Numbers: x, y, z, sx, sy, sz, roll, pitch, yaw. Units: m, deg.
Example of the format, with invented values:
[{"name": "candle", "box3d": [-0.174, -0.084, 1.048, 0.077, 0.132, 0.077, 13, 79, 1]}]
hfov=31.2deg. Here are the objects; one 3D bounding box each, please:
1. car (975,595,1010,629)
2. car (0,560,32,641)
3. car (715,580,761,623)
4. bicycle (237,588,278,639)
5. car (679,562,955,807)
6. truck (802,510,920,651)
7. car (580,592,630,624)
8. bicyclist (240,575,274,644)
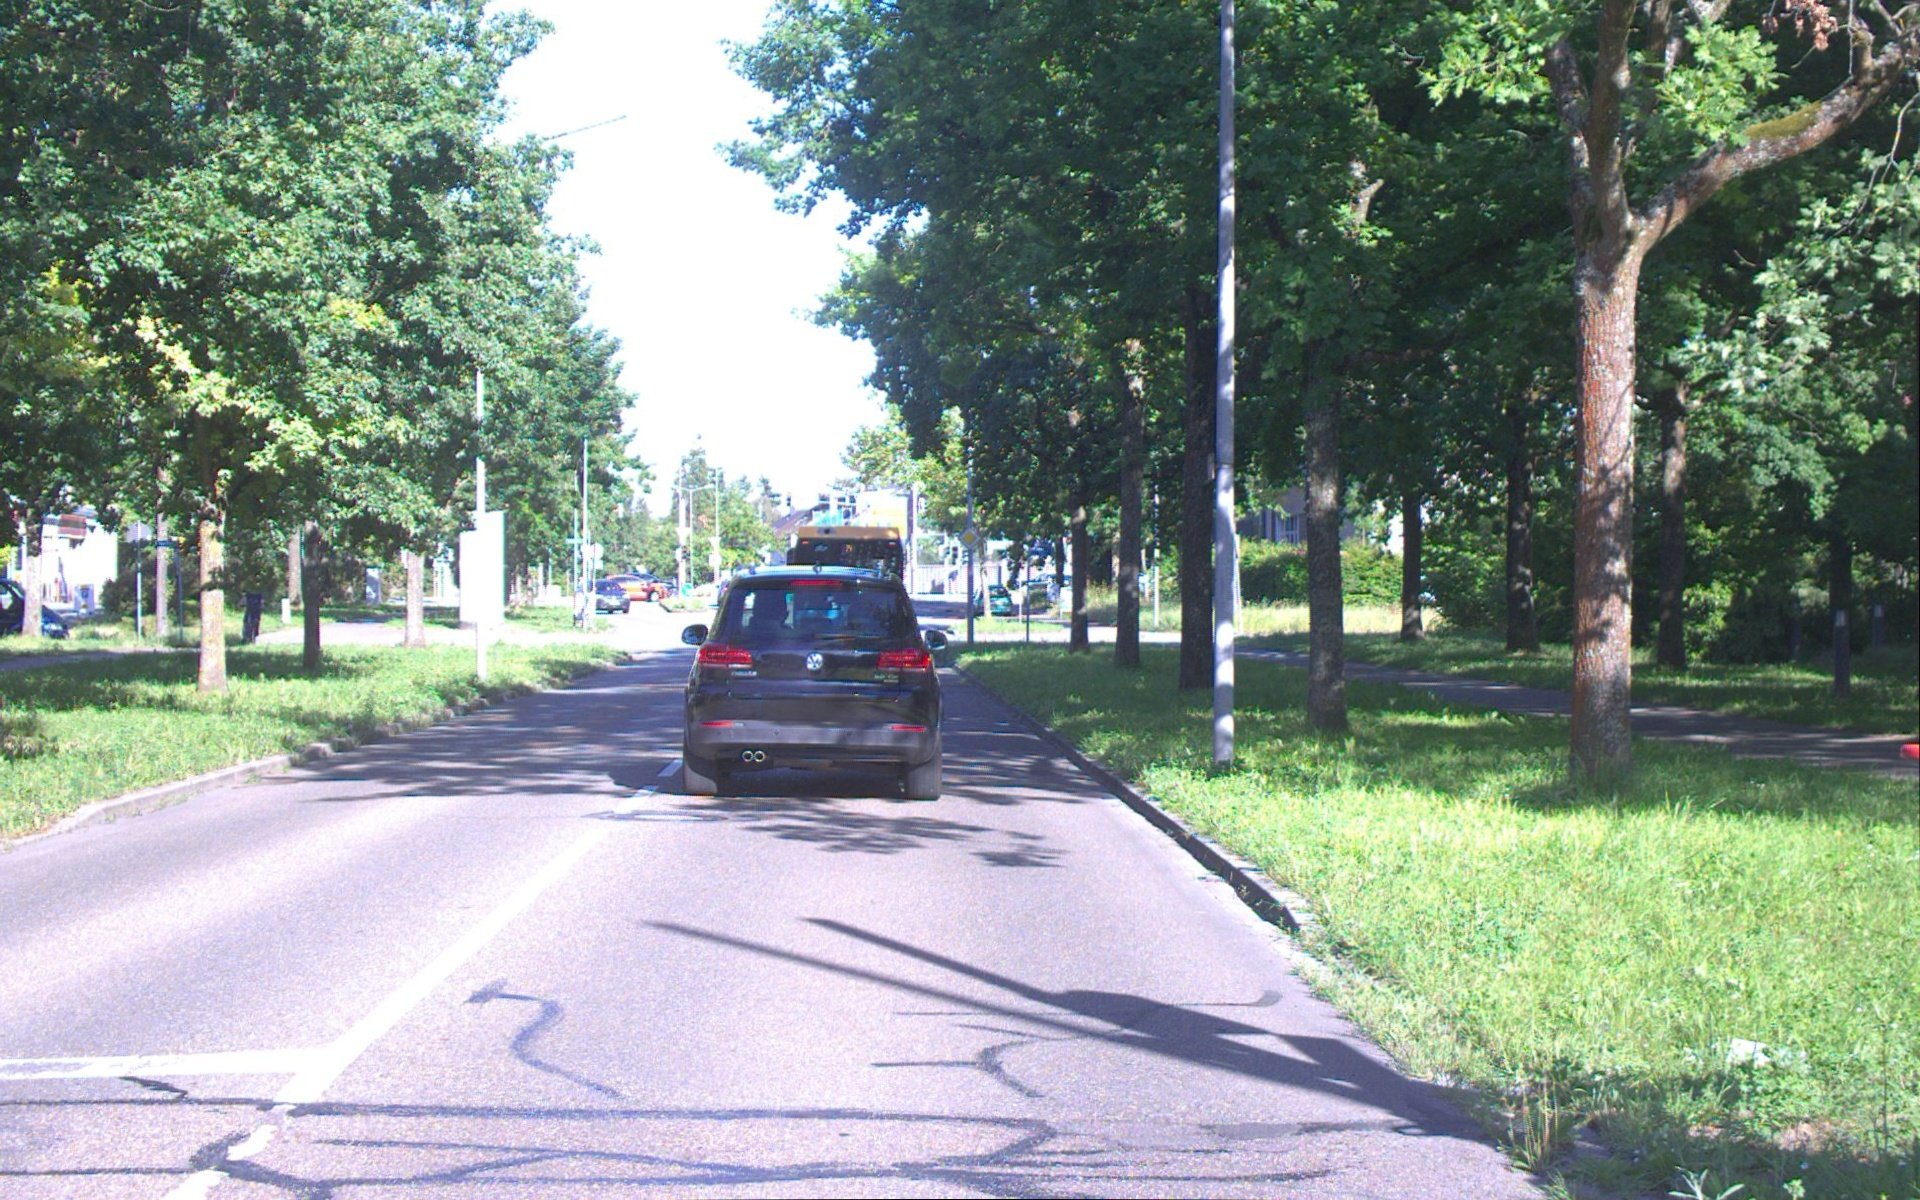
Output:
[{"name": "car", "box3d": [1.392, 0.526, 149.451, 1.452, 1.401, 2.856, 2, 0, 0]}, {"name": "car", "box3d": [-26.468, -0.064, 86.628, 5.788, 2.007, 2.001, 1, 0, -11]}, {"name": "car", "box3d": [-10.862, 0.060, 167.955, 1.993, 2.007, 4.001, 2, 0, -7]}, {"name": "bicycle", "box3d": [-18.733, 0.360, 91.691, 0.717, 1.317, 1.991, 2, 0, -2]}, {"name": "car", "box3d": [-0.982, 0.574, 25.519, 1.782, 1.628, 4.000, 2, 0, 1]}, {"name": "truck", "box3d": [-2.319, -0.472, 83.087, 2.512, 3.233, 8.152, 0, 0, 1]}, {"name": "car", "box3d": [-16.378, 0.352, 158.729, 1.993, 1.450, 4.000, 0, 0, -2]}, {"name": "bicyclist", "box3d": [-18.739, 0.243, 91.608, 0.686, 1.825, 0.934, 2, 0, -2]}]
